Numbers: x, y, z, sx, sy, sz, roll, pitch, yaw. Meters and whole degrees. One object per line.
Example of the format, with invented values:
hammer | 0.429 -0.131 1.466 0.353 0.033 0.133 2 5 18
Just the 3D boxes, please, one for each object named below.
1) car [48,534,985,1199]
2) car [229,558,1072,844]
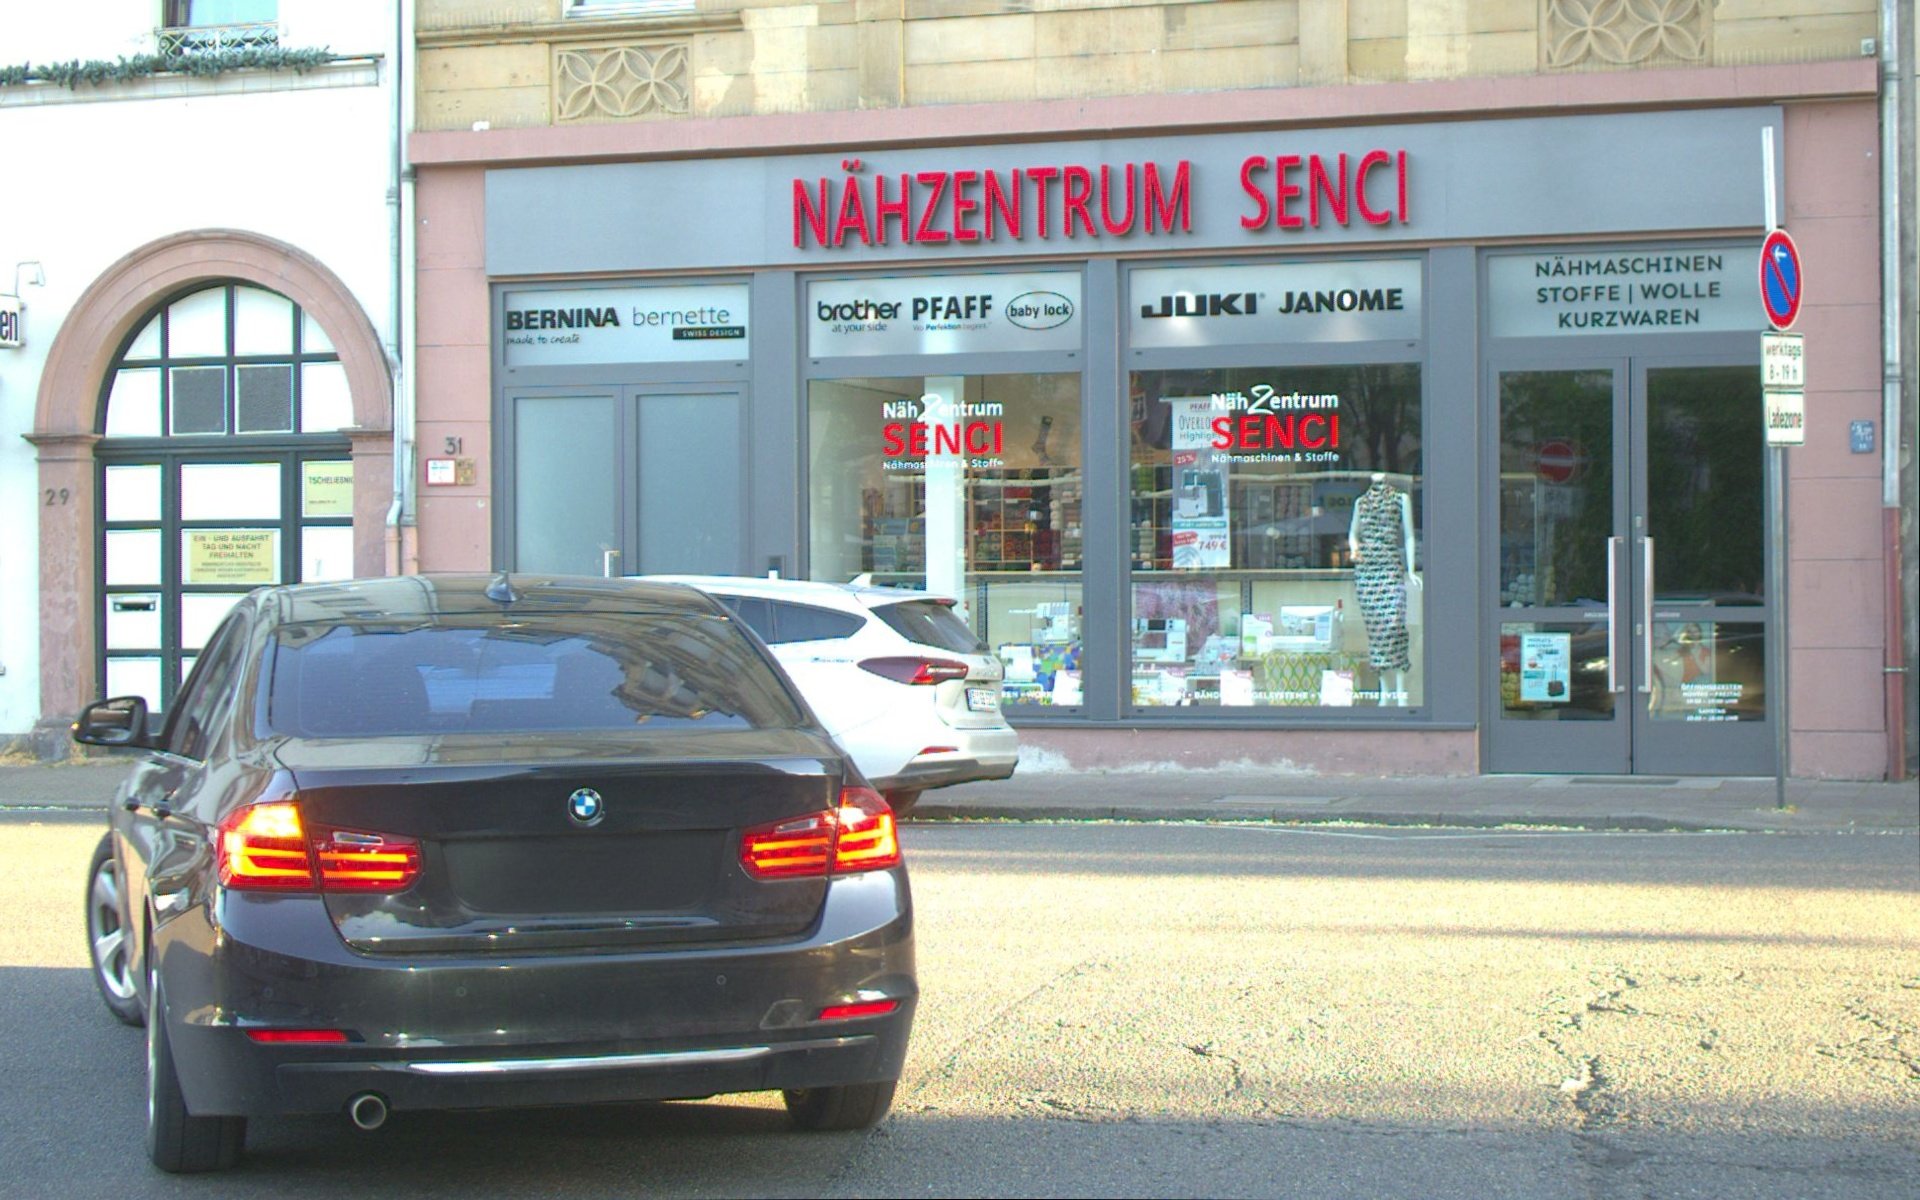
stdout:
car | -1.444 0.625 9.340 1.888 1.487 4.205 0 0 -16
car | -1.849 0.556 20.890 4.670 1.530 1.998 1 0 18
